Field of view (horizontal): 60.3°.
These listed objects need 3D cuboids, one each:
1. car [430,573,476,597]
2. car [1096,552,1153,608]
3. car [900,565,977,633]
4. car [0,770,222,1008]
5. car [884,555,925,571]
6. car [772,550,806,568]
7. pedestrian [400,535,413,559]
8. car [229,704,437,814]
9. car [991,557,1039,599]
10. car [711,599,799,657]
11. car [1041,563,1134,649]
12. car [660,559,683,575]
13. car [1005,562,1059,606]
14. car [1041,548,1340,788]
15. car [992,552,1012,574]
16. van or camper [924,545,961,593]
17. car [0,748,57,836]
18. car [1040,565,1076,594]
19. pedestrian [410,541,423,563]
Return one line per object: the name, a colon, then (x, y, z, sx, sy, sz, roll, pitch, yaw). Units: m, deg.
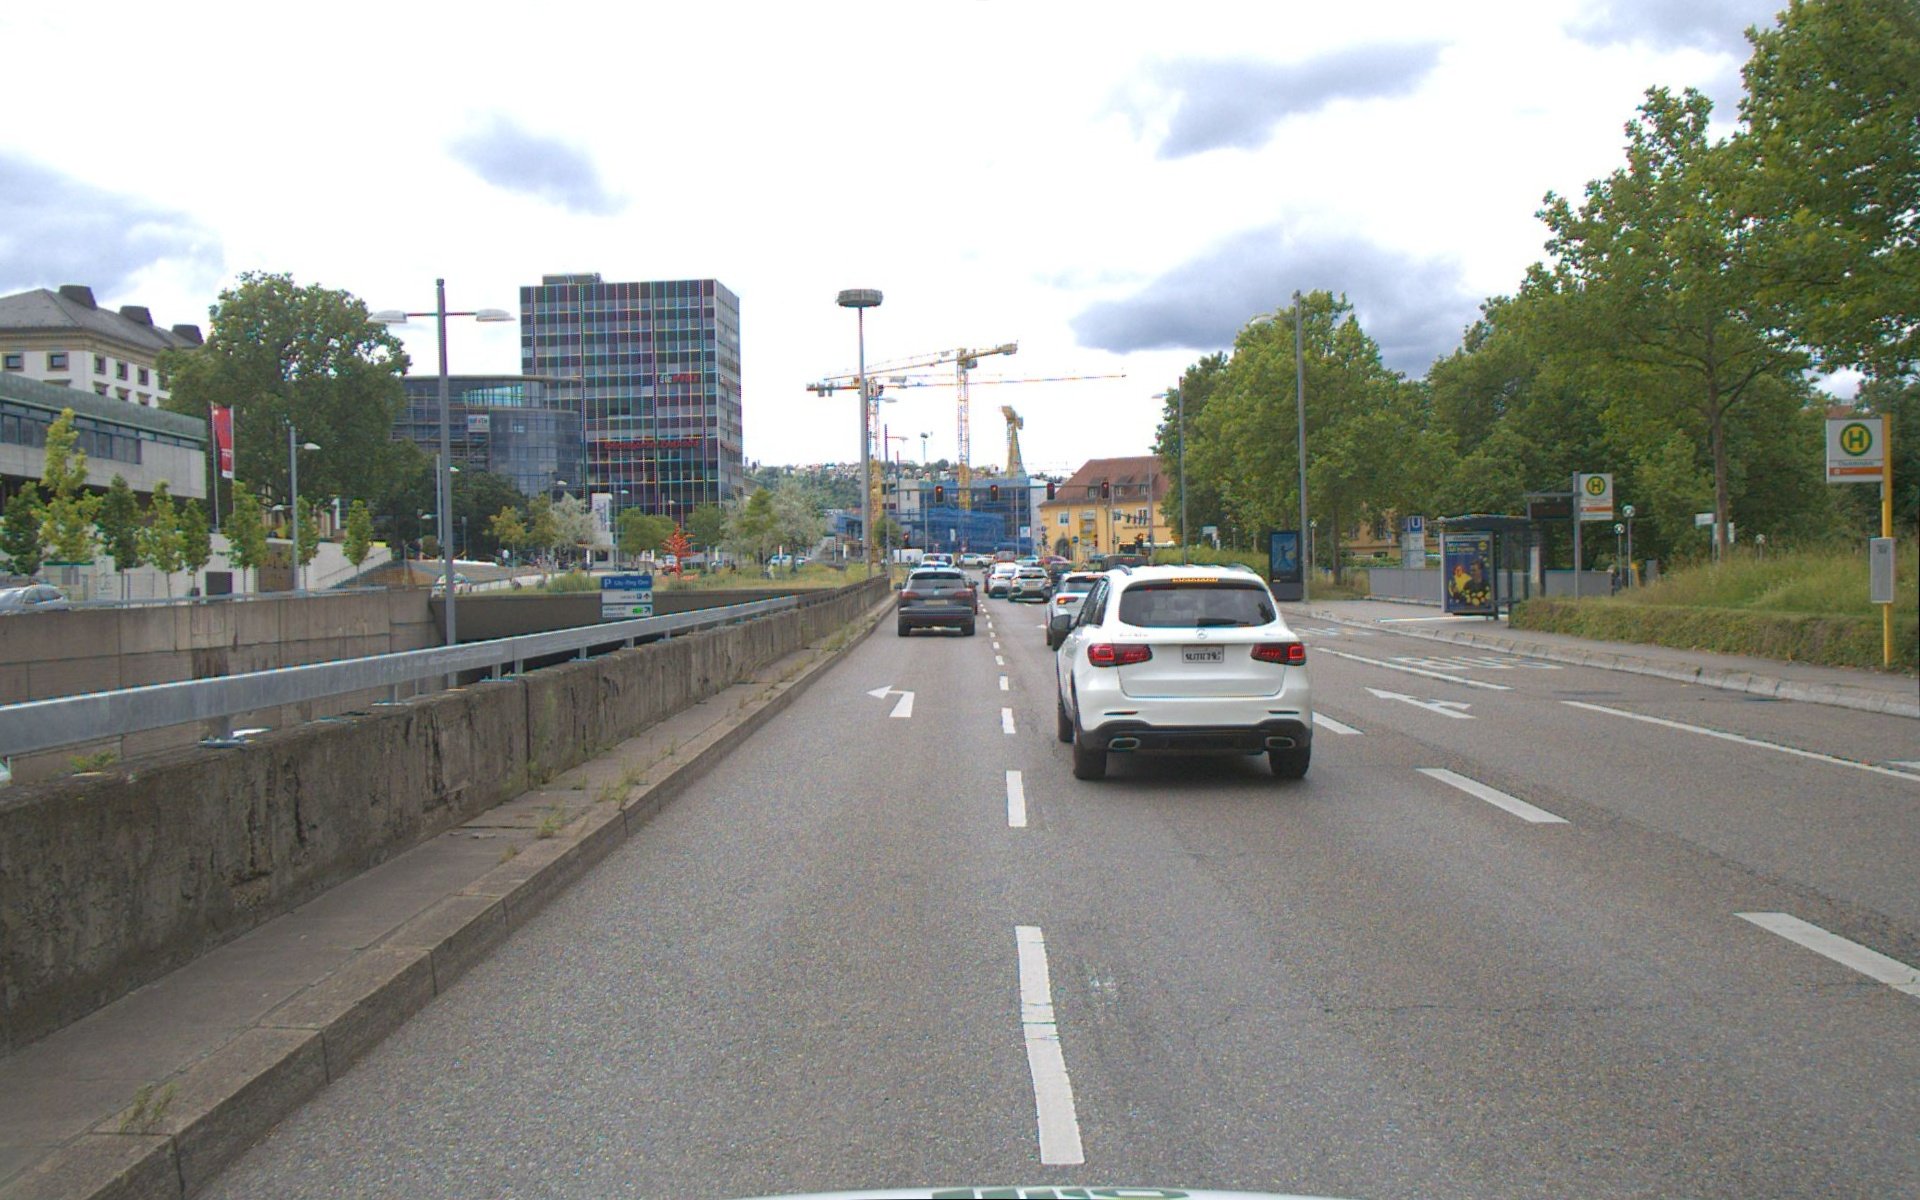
car: (-31.660, -0.922, 103.438, 1.772, 1.452, 3.706, 1, 0, -2)
car: (6.229, -0.765, 63.007, 1.751, 2.049, 4.000, 0, 1, -1)
car: (-0.540, -0.057, 42.222, 1.883, 1.630, 4.000, 0, 1, -1)
car: (-9.331, 2.746, 16.440, 1.953, 1.508, 4.807, -1, 1, -2)
car: (-7.314, -4.856, 218.061, 5.171, 2.096, 1.871, 1, 0, 28)
car: (-21.567, -5.153, 208.835, 3.924, 2.049, 1.990, 1, 0, -18)
pedestrian: (-41.717, -3.991, 124.684, 0.681, 1.759, 0.639, 1, -1, 34)
car: (-10.995, 2.746, 29.414, 1.775, 1.486, 4.863, 0, 0, 1)
car: (2.461, -0.960, 74.730, 1.953, 1.812, 3.999, 1, 0, -1)
car: (-5.183, 0.681, 42.239, 1.683, 1.315, 4.001, 1, 1, 1)
car: (2.606, 0.105, 34.491, 1.638, 1.656, 4.000, 1, 0, 1)
car: (-30.894, -3.521, 177.122, 1.829, 1.646, 3.481, 1, 0, -1)
car: (2.881, -0.612, 67.022, 1.953, 1.691, 3.999, 1, 0, -1)
car: (1.769, 0.494, 13.958, 1.901, 1.713, 3.999, 1, 0, -1)
car: (4.081, -3.587, 160.692, 1.763, 2.049, 3.999, 1, 0, -1)
van or camper: (-0.935, -1.621, 87.775, 1.883, 2.360, 3.999, 0, -1, -1)
car: (-16.473, 3.181, 26.713, 1.663, 1.295, 3.820, 1, -1, -1)
car: (5.636, -1.163, 95.502, 1.684, 1.612, 3.999, 1, 1, -2)
pedestrian: (-44.340, -3.939, 134.982, 0.679, 1.759, 0.641, 1, 0, 23)
